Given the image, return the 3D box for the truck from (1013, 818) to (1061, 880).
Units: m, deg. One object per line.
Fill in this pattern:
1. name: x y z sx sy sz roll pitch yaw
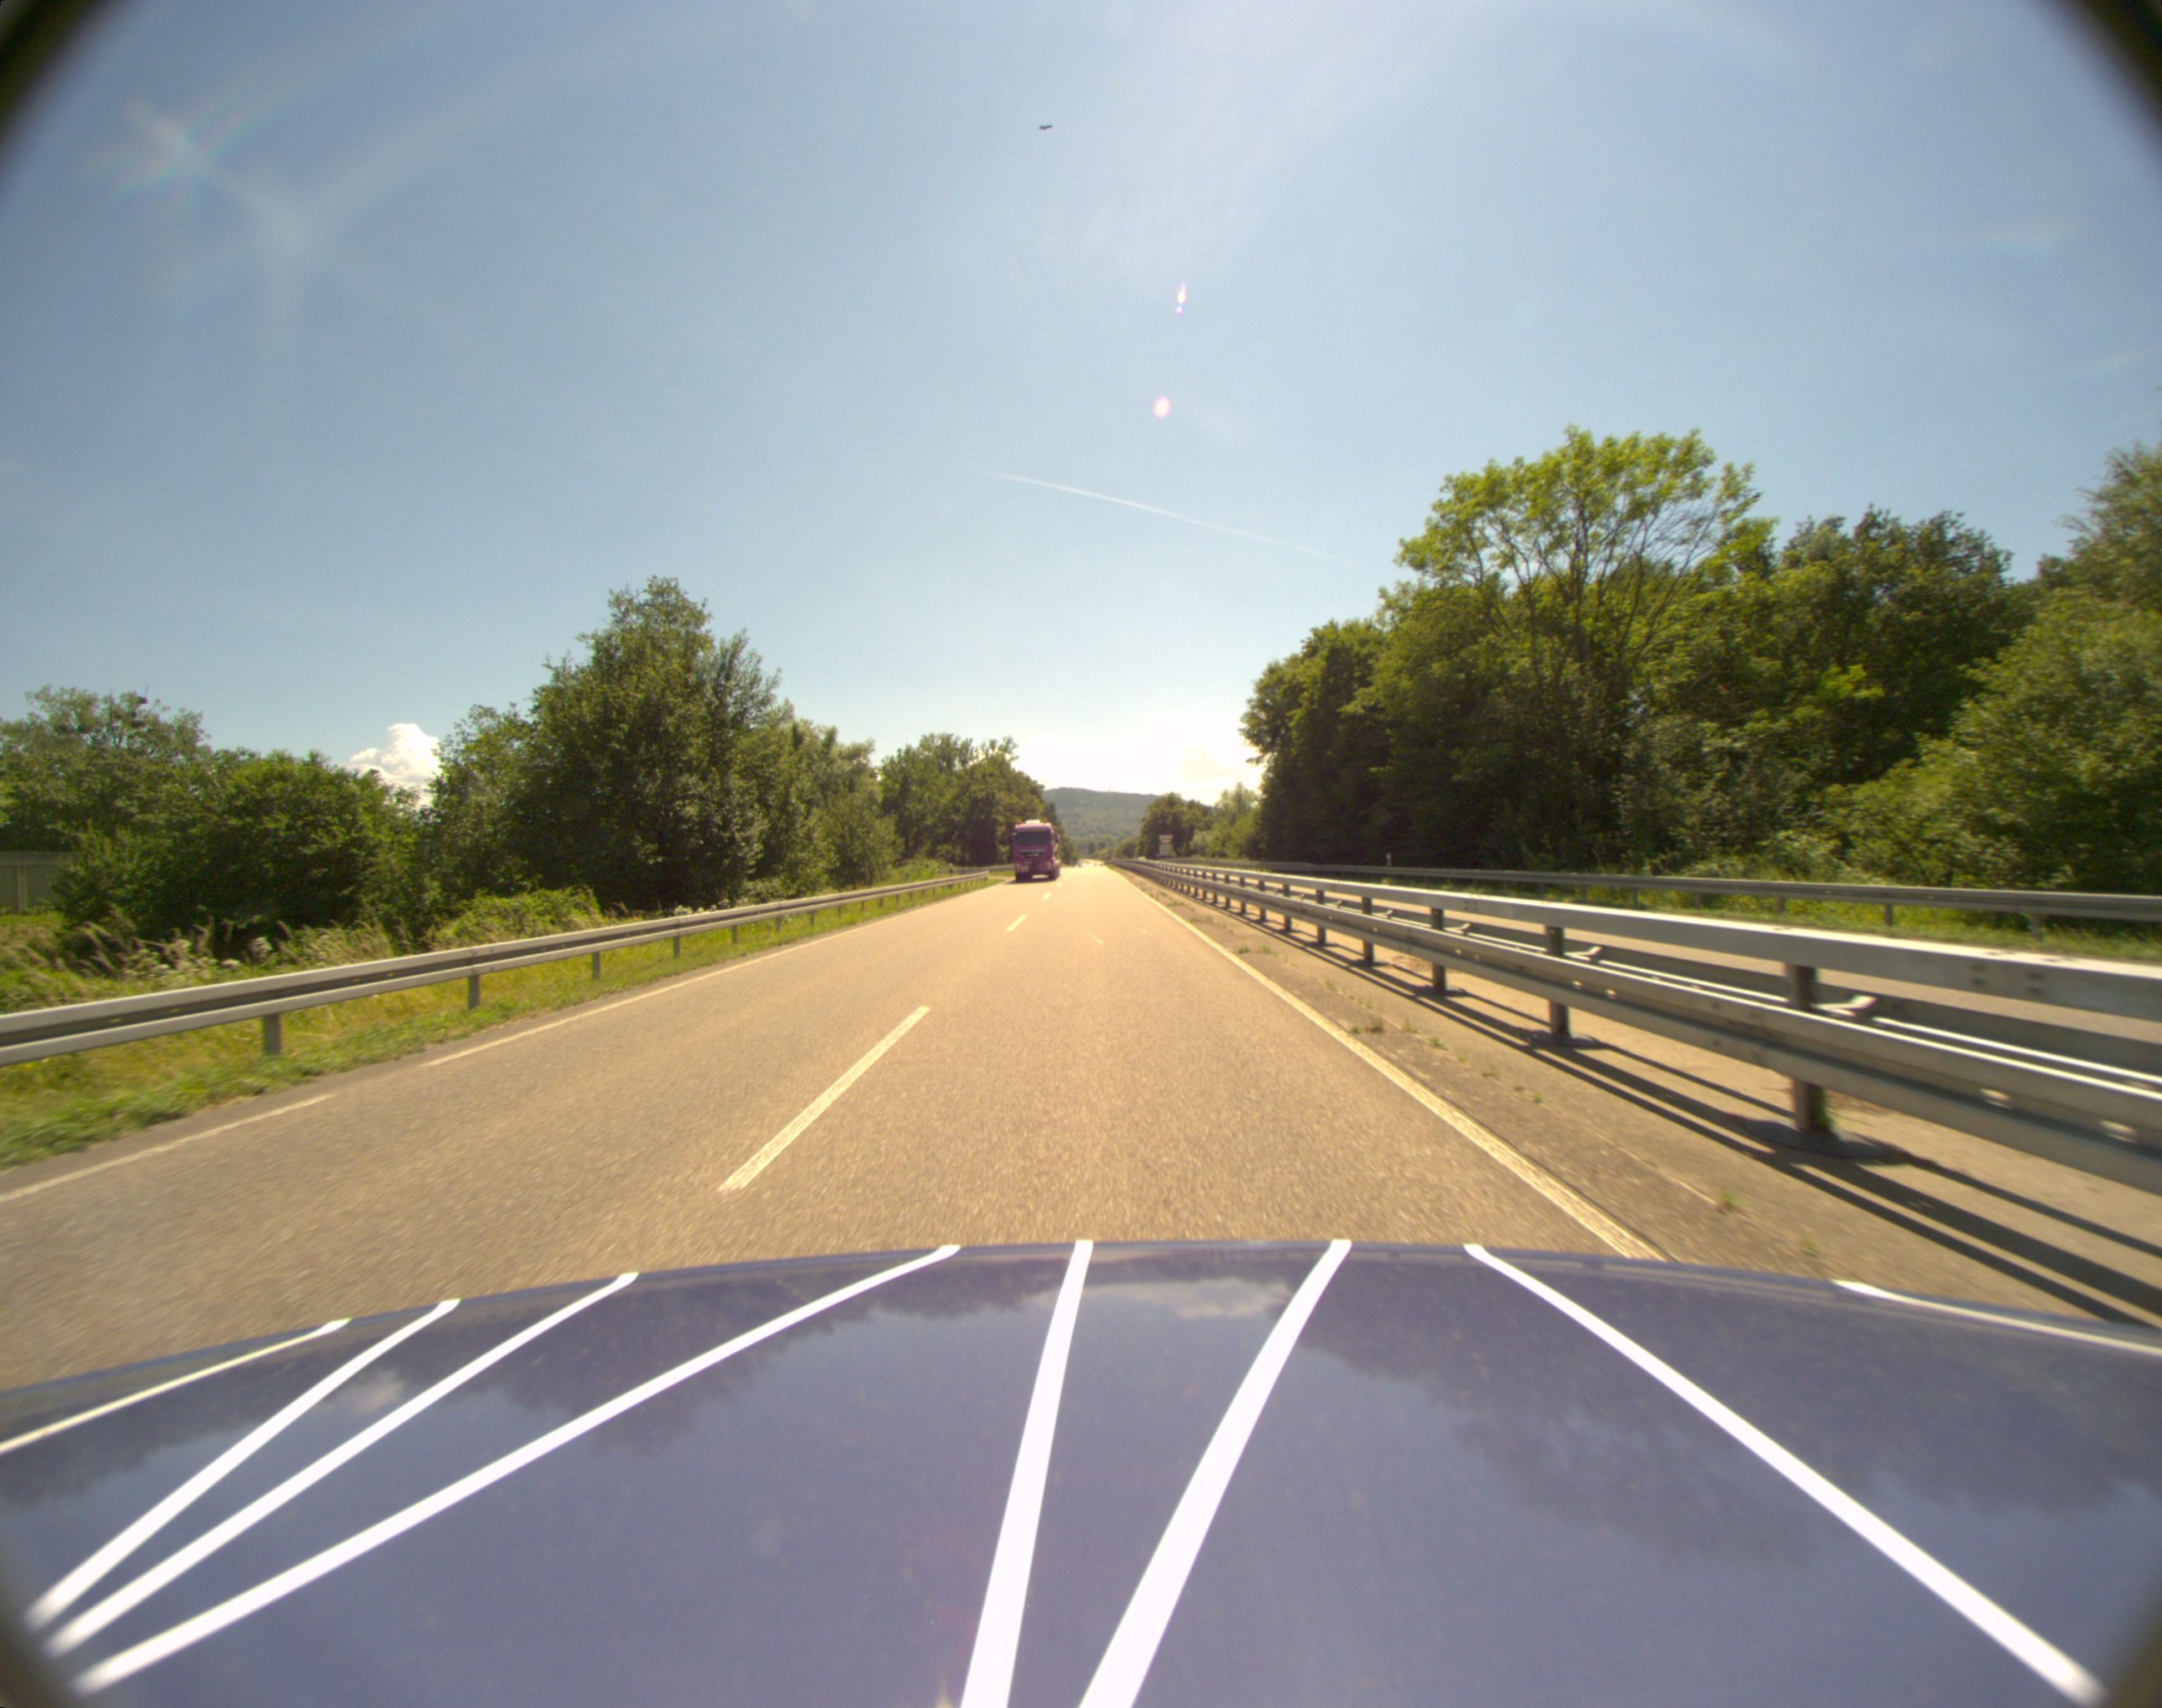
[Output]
1. truck: -2.756 -0.269 49.124 2.605 3.669 5.939 -3 -1 0

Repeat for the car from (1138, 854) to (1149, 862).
1. car: 12.733 0.889 155.114 1.823 1.589 4.841 0 0 0

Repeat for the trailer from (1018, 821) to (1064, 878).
1. trailer: -2.701 -0.199 53.746 2.605 3.607 8.615 -3 -1 0
